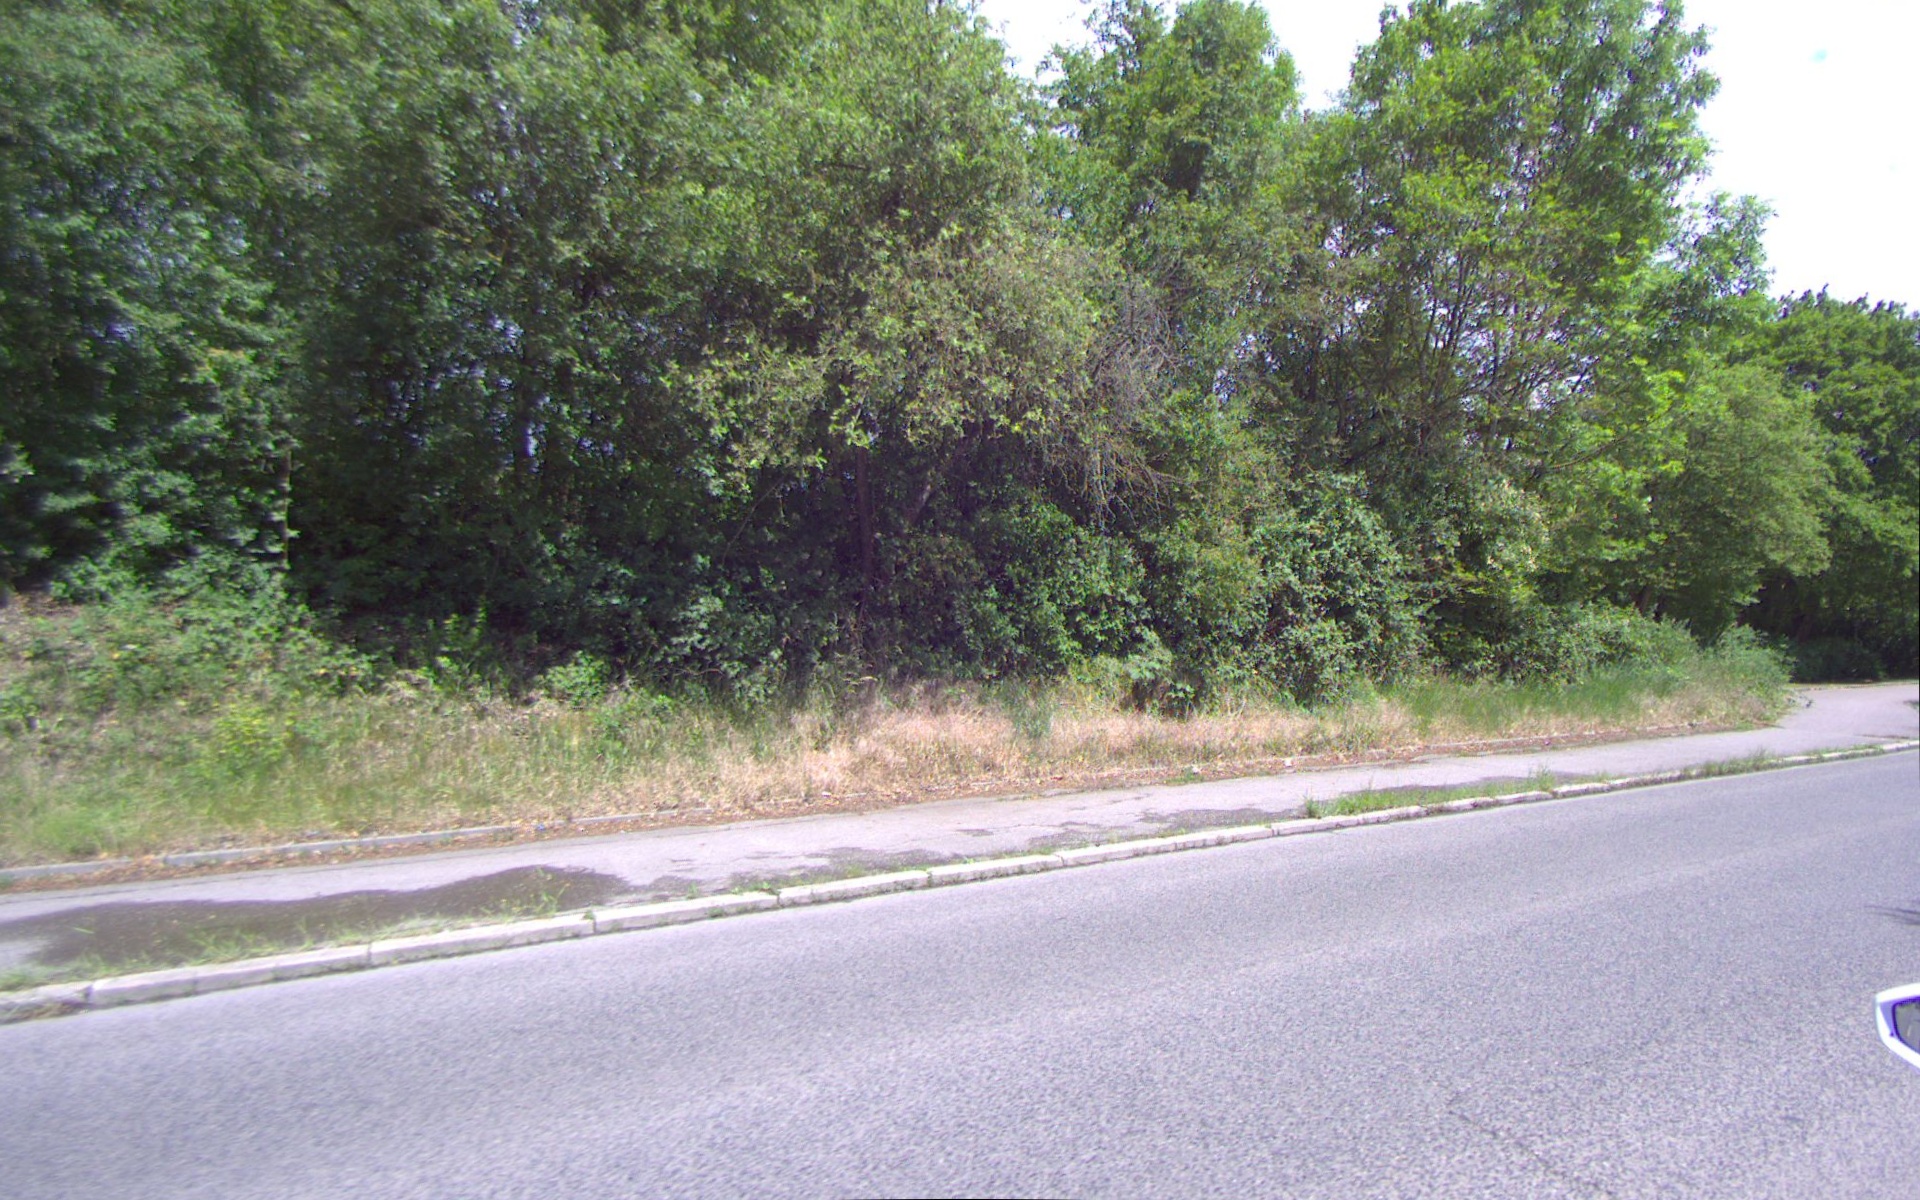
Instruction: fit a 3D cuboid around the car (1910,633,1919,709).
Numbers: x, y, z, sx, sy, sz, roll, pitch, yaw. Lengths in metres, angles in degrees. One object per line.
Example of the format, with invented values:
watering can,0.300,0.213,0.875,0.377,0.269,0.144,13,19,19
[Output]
car,22.008,1.509,21.252,3.909,1.563,1.789,1,-1,-31
